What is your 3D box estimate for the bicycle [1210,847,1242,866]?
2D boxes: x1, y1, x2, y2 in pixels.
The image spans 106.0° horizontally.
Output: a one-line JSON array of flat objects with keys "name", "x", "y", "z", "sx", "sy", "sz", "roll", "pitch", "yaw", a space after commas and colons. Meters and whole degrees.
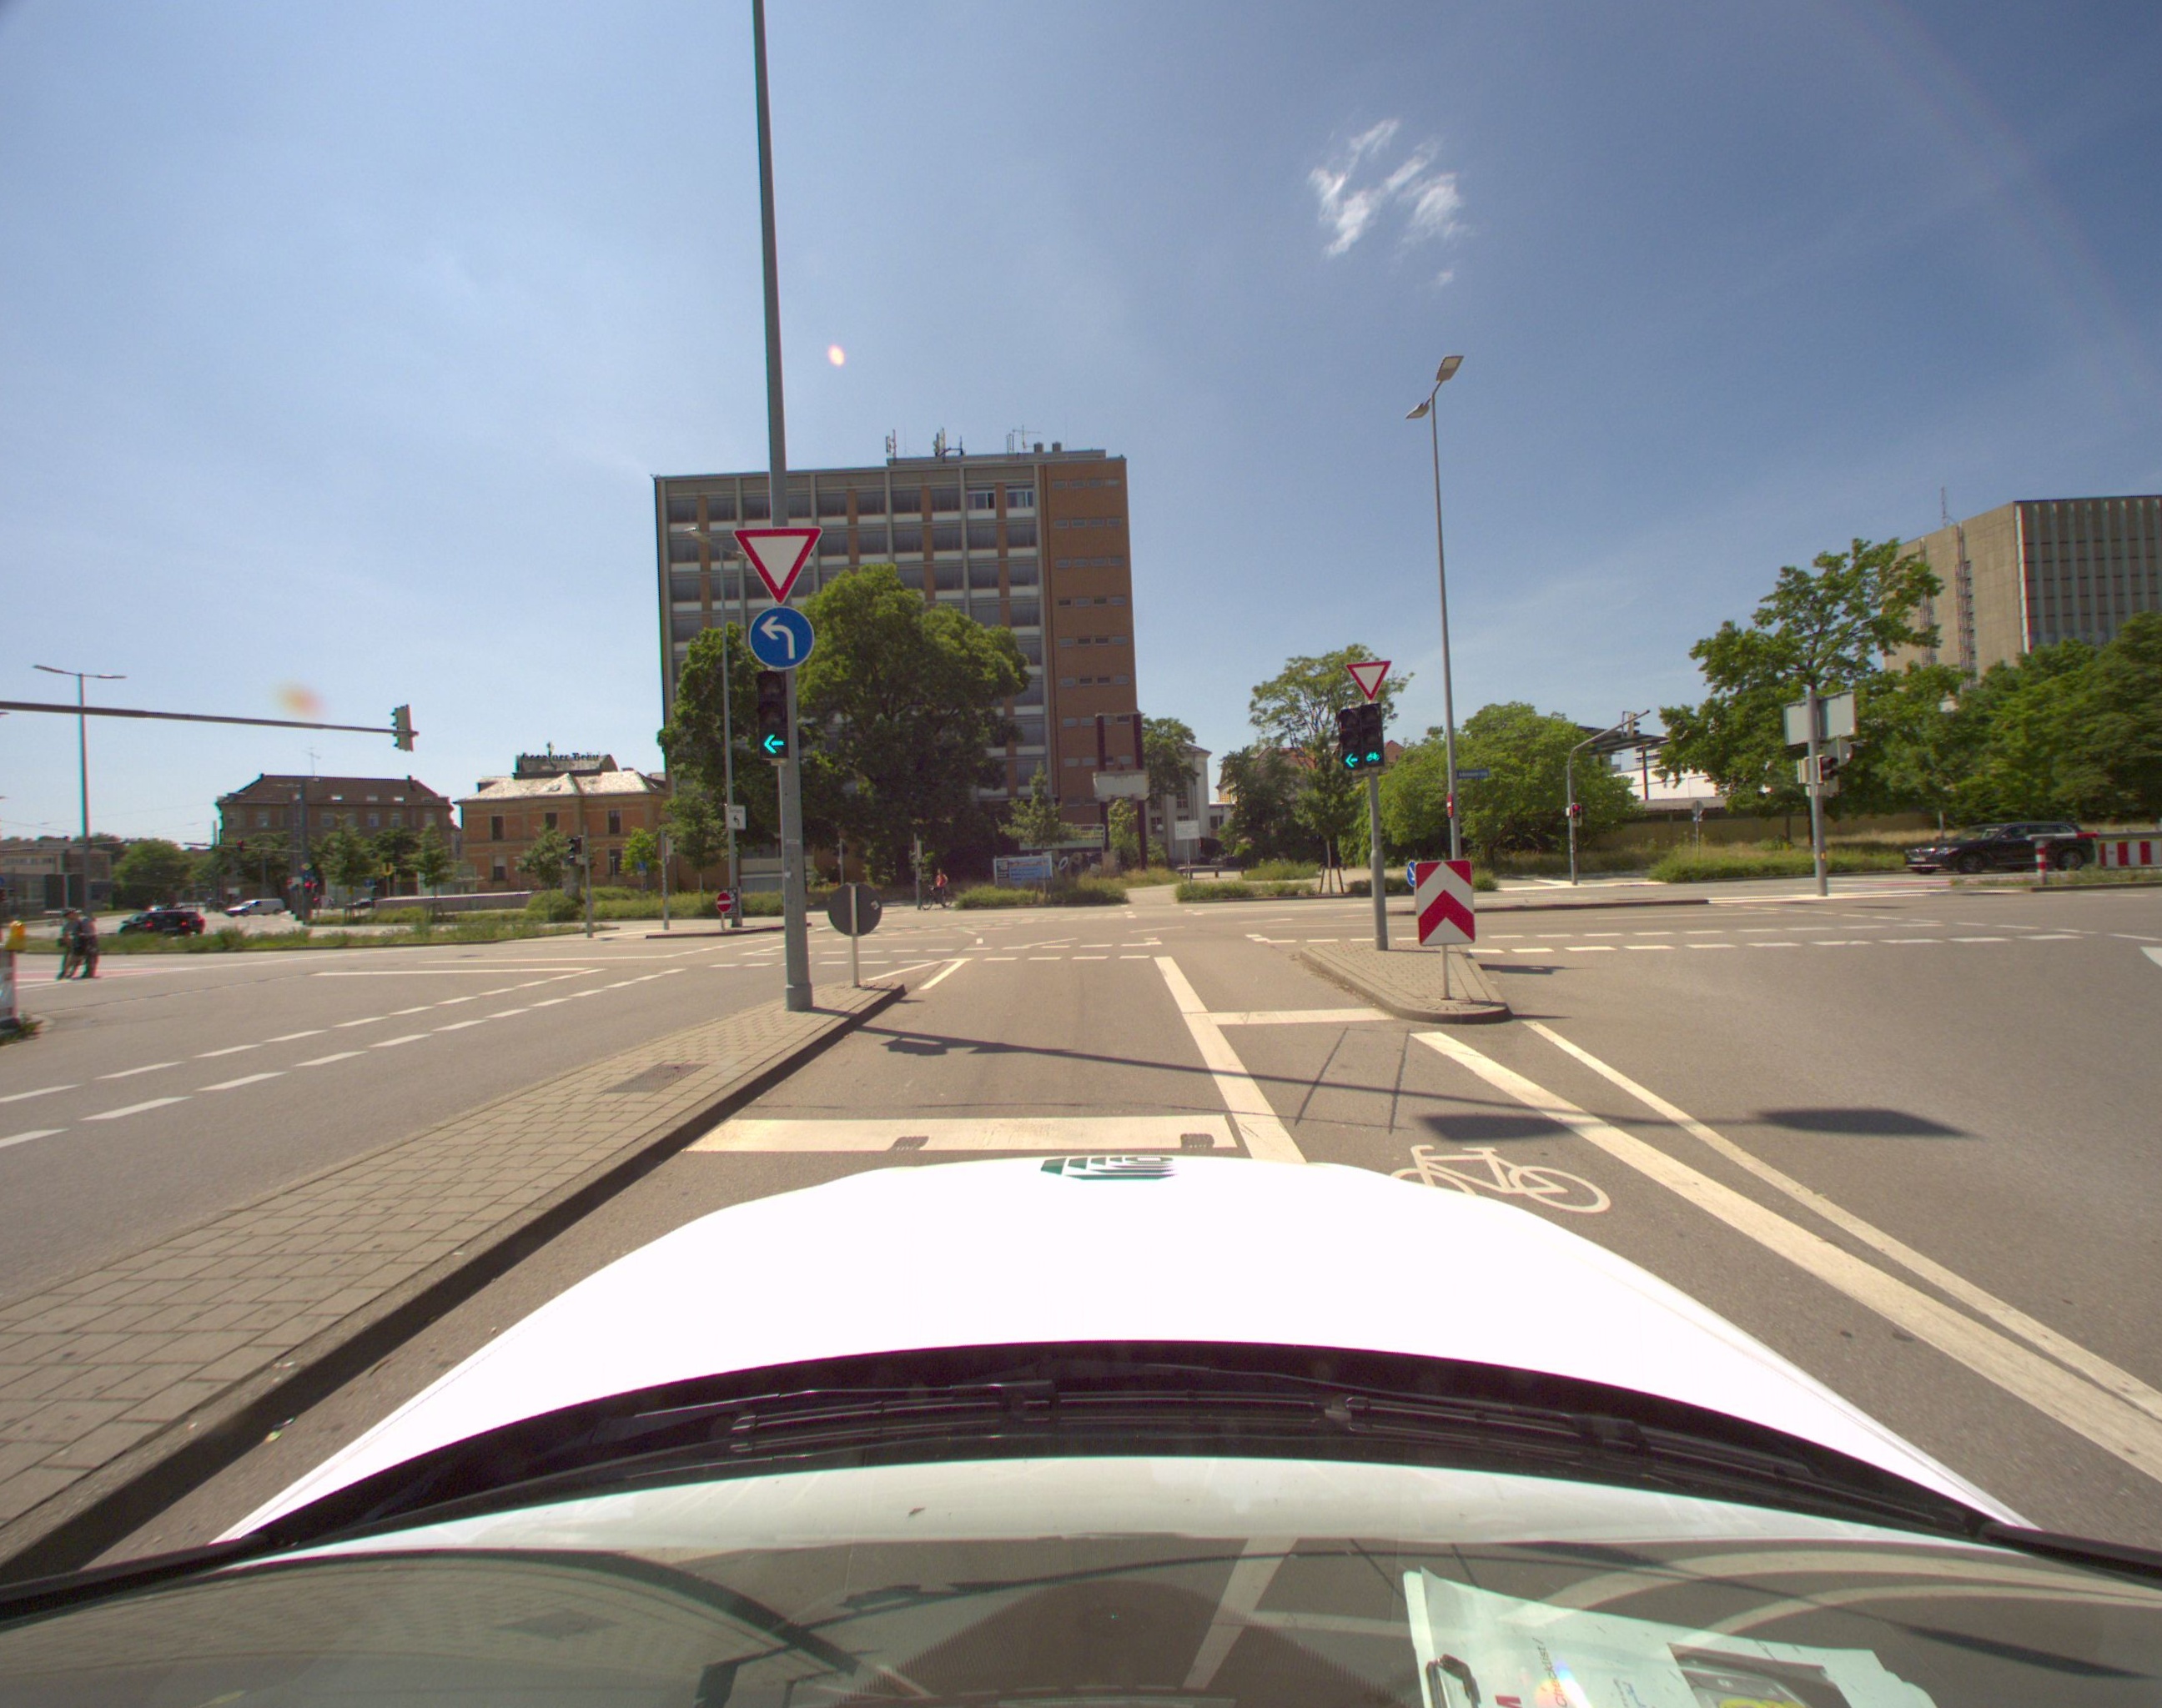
[{"name": "bicycle", "x": 15.963, "y": 0.282, "z": 89.757, "sx": 3.432, "sy": 2.014, "sz": 0.761, "roll": -1, "pitch": -1, "yaw": 3}]

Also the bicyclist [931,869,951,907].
[{"name": "bicyclist", "x": -6.484, "y": 1.558, "z": 37.755, "sx": 0.544, "sy": 1.715, "sz": 0.707, "roll": -1, "pitch": 1, "yaw": 42}]

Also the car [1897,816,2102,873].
[{"name": "car", "x": 30.671, "y": -0.290, "z": 27.319, "sx": 4.516, "sy": 1.586, "sz": 1.712, "roll": -3, "pitch": -1, "yaw": 7}]

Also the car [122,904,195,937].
[{"name": "car", "x": -45.662, "y": 3.291, "z": 40.306, "sx": 3.948, "sy": 1.463, "sz": 1.636, "roll": -3, "pitch": -1, "yaw": 30}]

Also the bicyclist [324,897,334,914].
[{"name": "bicyclist", "x": -92.790, "y": 6.355, "z": 100.477, "sx": 0.651, "sy": 1.938, "sz": 0.770, "roll": -1, "pitch": -1, "yaw": 29}]

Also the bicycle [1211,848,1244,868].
[{"name": "bicycle", "x": 15.597, "y": 0.434, "z": 86.877, "sx": 3.432, "sy": 2.014, "sz": 0.761, "roll": -1, "pitch": -1, "yaw": 3}]

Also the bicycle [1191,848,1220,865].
[{"name": "bicycle", "x": 15.065, "y": 0.260, "z": 98.436, "sx": 3.432, "sy": 2.014, "sz": 0.761, "roll": -1, "pitch": -1, "yaw": 3}]

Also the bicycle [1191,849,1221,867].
[{"name": "bicycle", "x": 14.712, "y": 0.451, "z": 96.030, "sx": 3.432, "sy": 2.014, "sz": 0.761, "roll": -1, "pitch": -1, "yaw": 3}]

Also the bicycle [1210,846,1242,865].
[{"name": "bicycle", "x": 15.726, "y": 0.125, "z": 88.358, "sx": 3.432, "sy": 2.014, "sz": 0.761, "roll": -1, "pitch": -1, "yaw": 3}]

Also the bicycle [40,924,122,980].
[{"name": "bicycle", "x": -22.806, "y": 2.231, "z": 18.570, "sx": 1.877, "sy": 1.180, "sz": 0.527, "roll": -4, "pitch": -1, "yaw": 18}]

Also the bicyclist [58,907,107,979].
[{"name": "bicyclist", "x": -22.761, "y": 2.025, "z": 18.564, "sx": 0.492, "sy": 1.580, "sz": 0.533, "roll": -4, "pitch": -2, "yaw": 19}]

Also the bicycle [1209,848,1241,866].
[{"name": "bicycle", "x": 16.242, "y": 0.379, "z": 91.866, "sx": 3.432, "sy": 2.014, "sz": 0.761, "roll": -1, "pitch": -1, "yaw": 3}]

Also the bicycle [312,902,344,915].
[{"name": "bicycle", "x": -92.816, "y": 6.720, "z": 100.447, "sx": 0.626, "sy": 1.463, "sz": 2.852, "roll": -1, "pitch": -1, "yaw": 28}]

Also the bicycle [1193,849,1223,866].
[{"name": "bicycle", "x": 15.185, "y": 0.461, "z": 97.198, "sx": 3.432, "sy": 2.014, "sz": 0.761, "roll": -1, "pitch": -1, "yaw": 3}]

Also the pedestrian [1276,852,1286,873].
[{"name": "pedestrian", "x": 15.743, "y": 0.644, "z": 64.129, "sx": 0.637, "sy": 1.665, "sz": 0.707, "roll": -1, "pitch": -1, "yaw": 0}]

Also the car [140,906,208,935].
[{"name": "car", "x": -54.033, "y": 3.984, "z": 48.503, "sx": 4.528, "sy": 1.557, "sz": 1.733, "roll": -3, "pitch": -1, "yaw": 30}]

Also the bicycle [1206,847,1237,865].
[{"name": "bicycle", "x": 16.227, "y": 0.256, "z": 94.234, "sx": 3.432, "sy": 2.014, "sz": 0.761, "roll": -1, "pitch": -1, "yaw": 3}]

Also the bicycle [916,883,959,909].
[{"name": "bicycle", "x": -6.606, "y": 1.911, "z": 37.612, "sx": 0.551, "sy": 1.045, "sz": 2.009, "roll": -2, "pitch": 1, "yaw": 43}]
